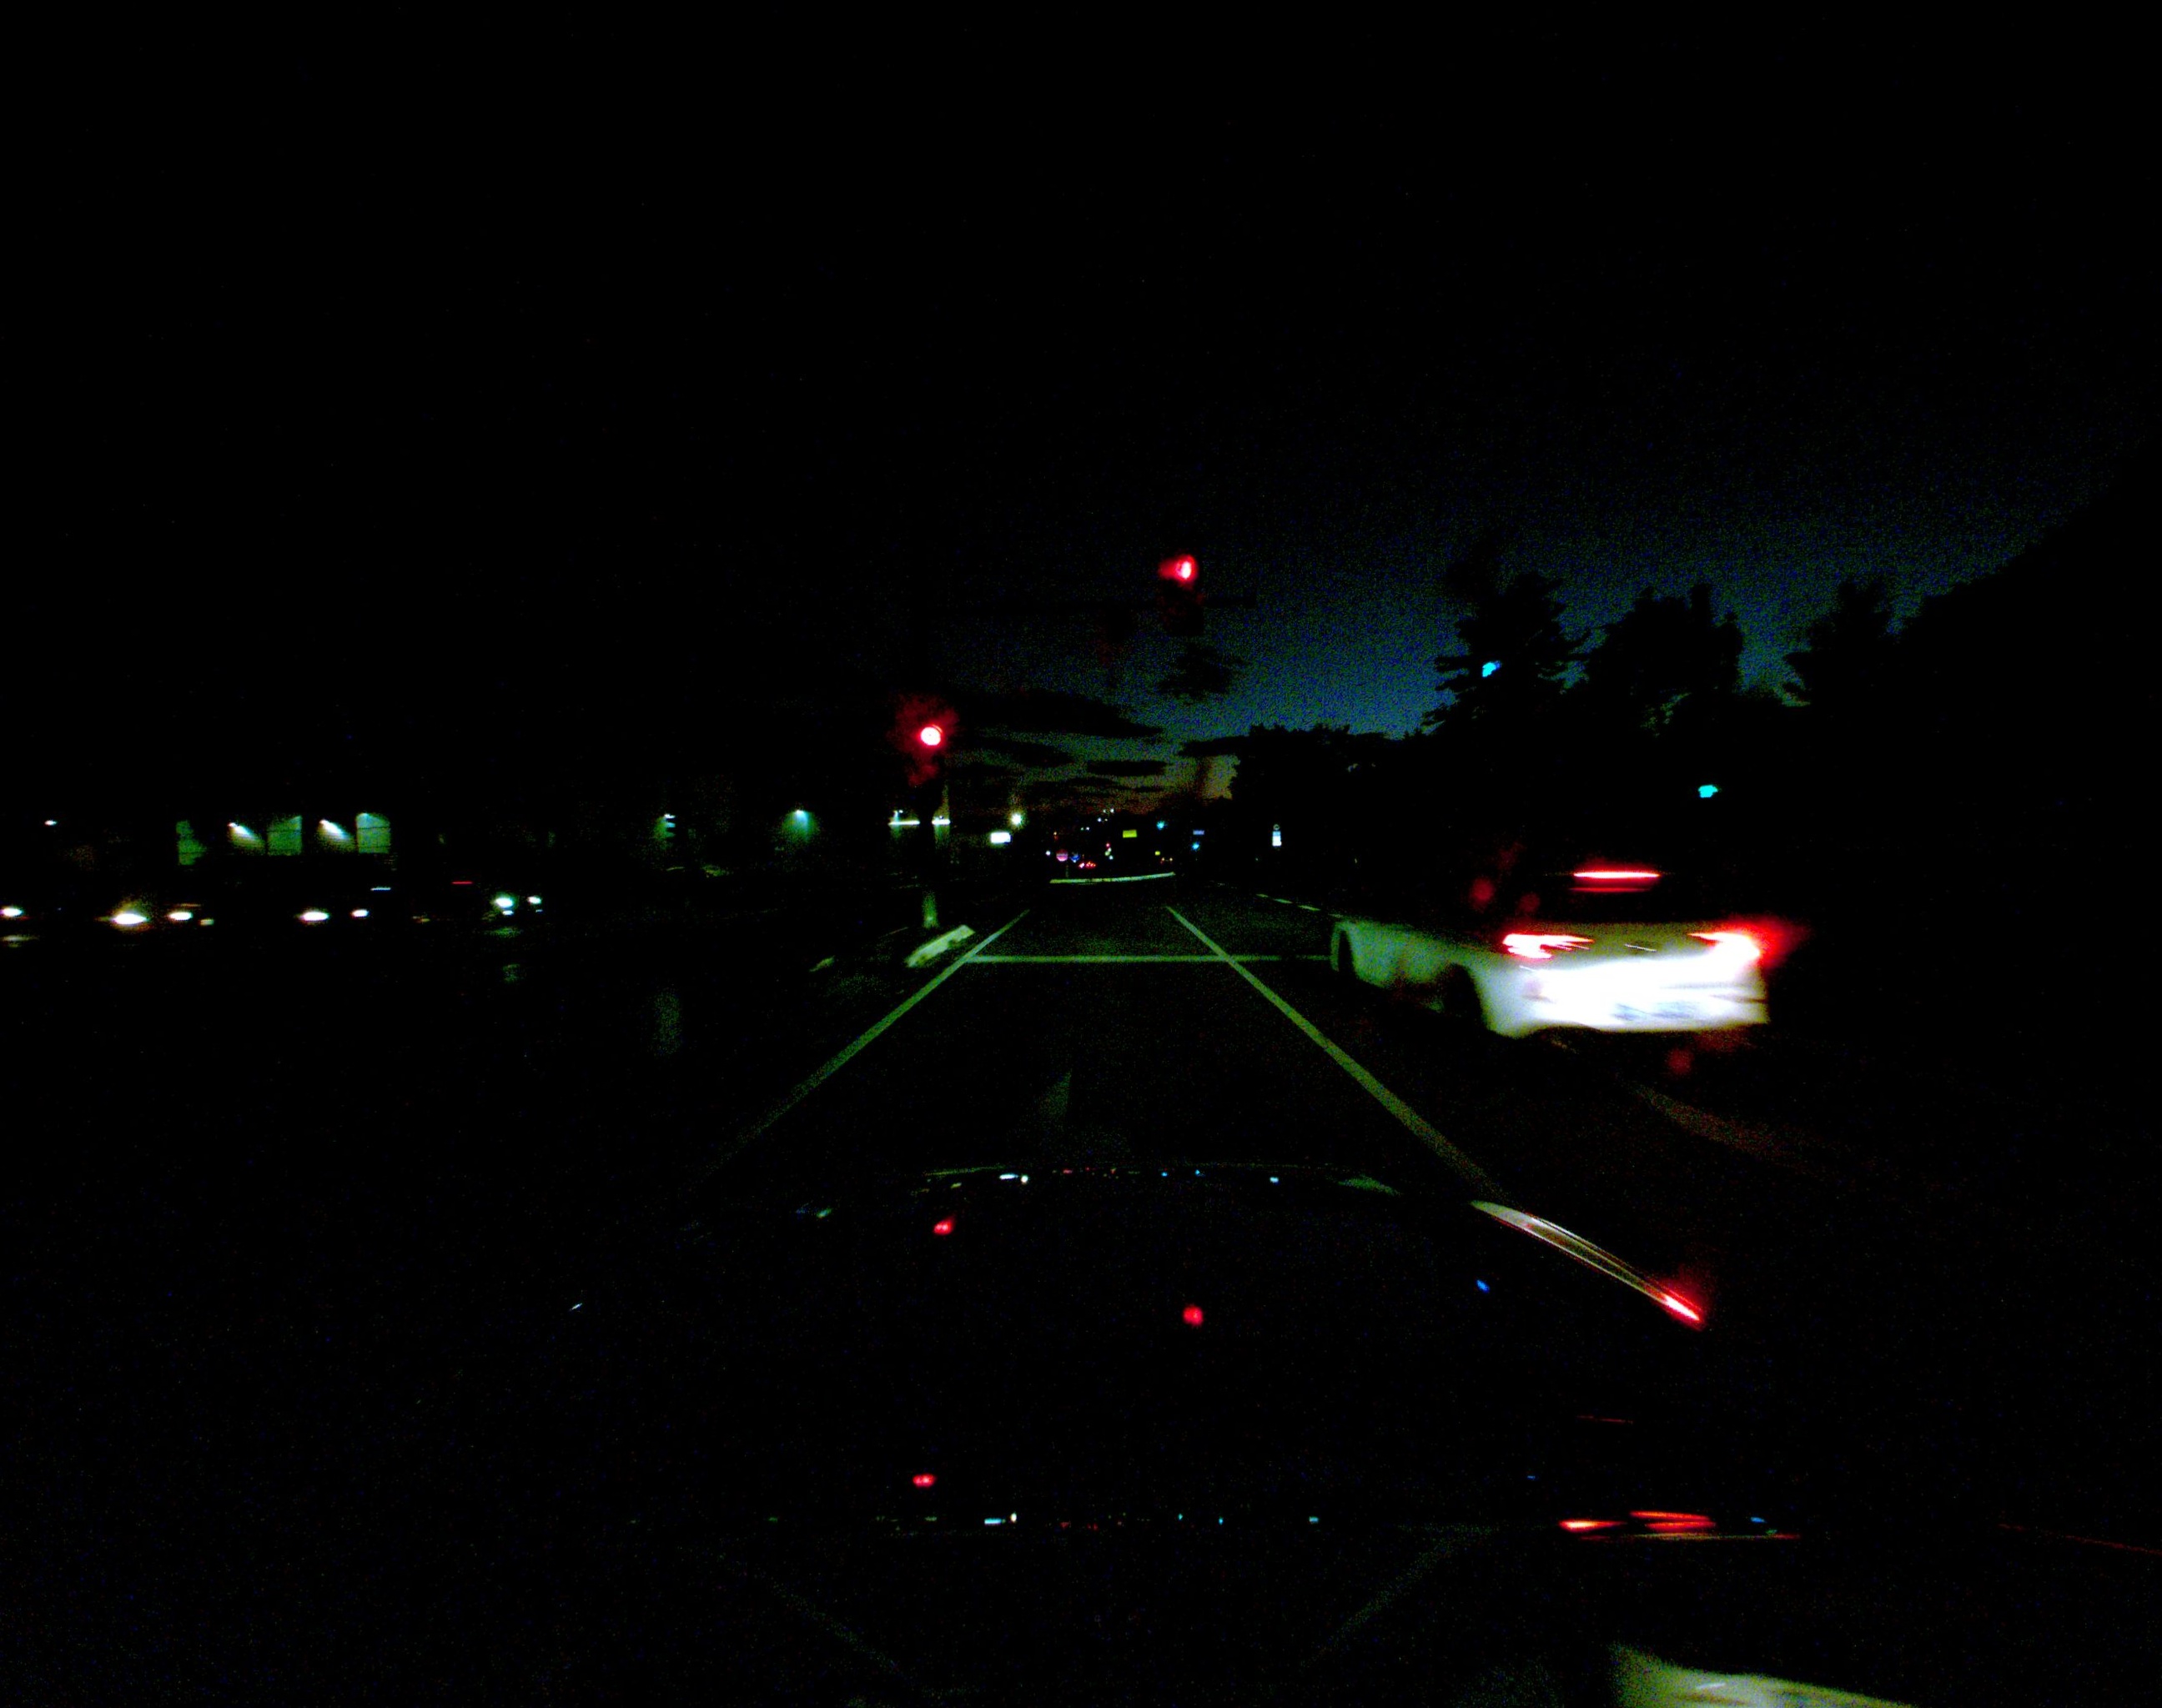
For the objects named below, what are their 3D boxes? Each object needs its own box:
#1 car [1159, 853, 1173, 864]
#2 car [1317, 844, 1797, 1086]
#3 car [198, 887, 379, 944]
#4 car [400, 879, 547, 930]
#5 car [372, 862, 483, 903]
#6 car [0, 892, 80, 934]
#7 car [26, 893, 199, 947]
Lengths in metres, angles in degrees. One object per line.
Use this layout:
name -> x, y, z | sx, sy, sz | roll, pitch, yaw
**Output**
car -> 13.836, 0.726, 132.622 | 1.928, 1.646, 4.001 | -2, 0, 1
car -> 3.532, 0.659, 7.096 | 1.752, 1.459, 4.192 | -1, 1, 0
car -> -23.373, 1.790, 24.090 | 3.964, 1.460, 1.764 | -2, -1, 8
car -> -20.754, 1.704, 27.883 | 3.837, 1.474, 1.708 | -3, -1, 7
car -> -33.750, 1.422, 42.191 | 4.001, 2.014, 1.986 | 0, 0, -21
car -> -40.840, 2.244, 30.766 | 3.964, 1.398, 2.005 | -2, 0, 8
car -> -30.199, 2.052, 25.443 | 3.778, 1.459, 1.693 | -1, 1, 8
